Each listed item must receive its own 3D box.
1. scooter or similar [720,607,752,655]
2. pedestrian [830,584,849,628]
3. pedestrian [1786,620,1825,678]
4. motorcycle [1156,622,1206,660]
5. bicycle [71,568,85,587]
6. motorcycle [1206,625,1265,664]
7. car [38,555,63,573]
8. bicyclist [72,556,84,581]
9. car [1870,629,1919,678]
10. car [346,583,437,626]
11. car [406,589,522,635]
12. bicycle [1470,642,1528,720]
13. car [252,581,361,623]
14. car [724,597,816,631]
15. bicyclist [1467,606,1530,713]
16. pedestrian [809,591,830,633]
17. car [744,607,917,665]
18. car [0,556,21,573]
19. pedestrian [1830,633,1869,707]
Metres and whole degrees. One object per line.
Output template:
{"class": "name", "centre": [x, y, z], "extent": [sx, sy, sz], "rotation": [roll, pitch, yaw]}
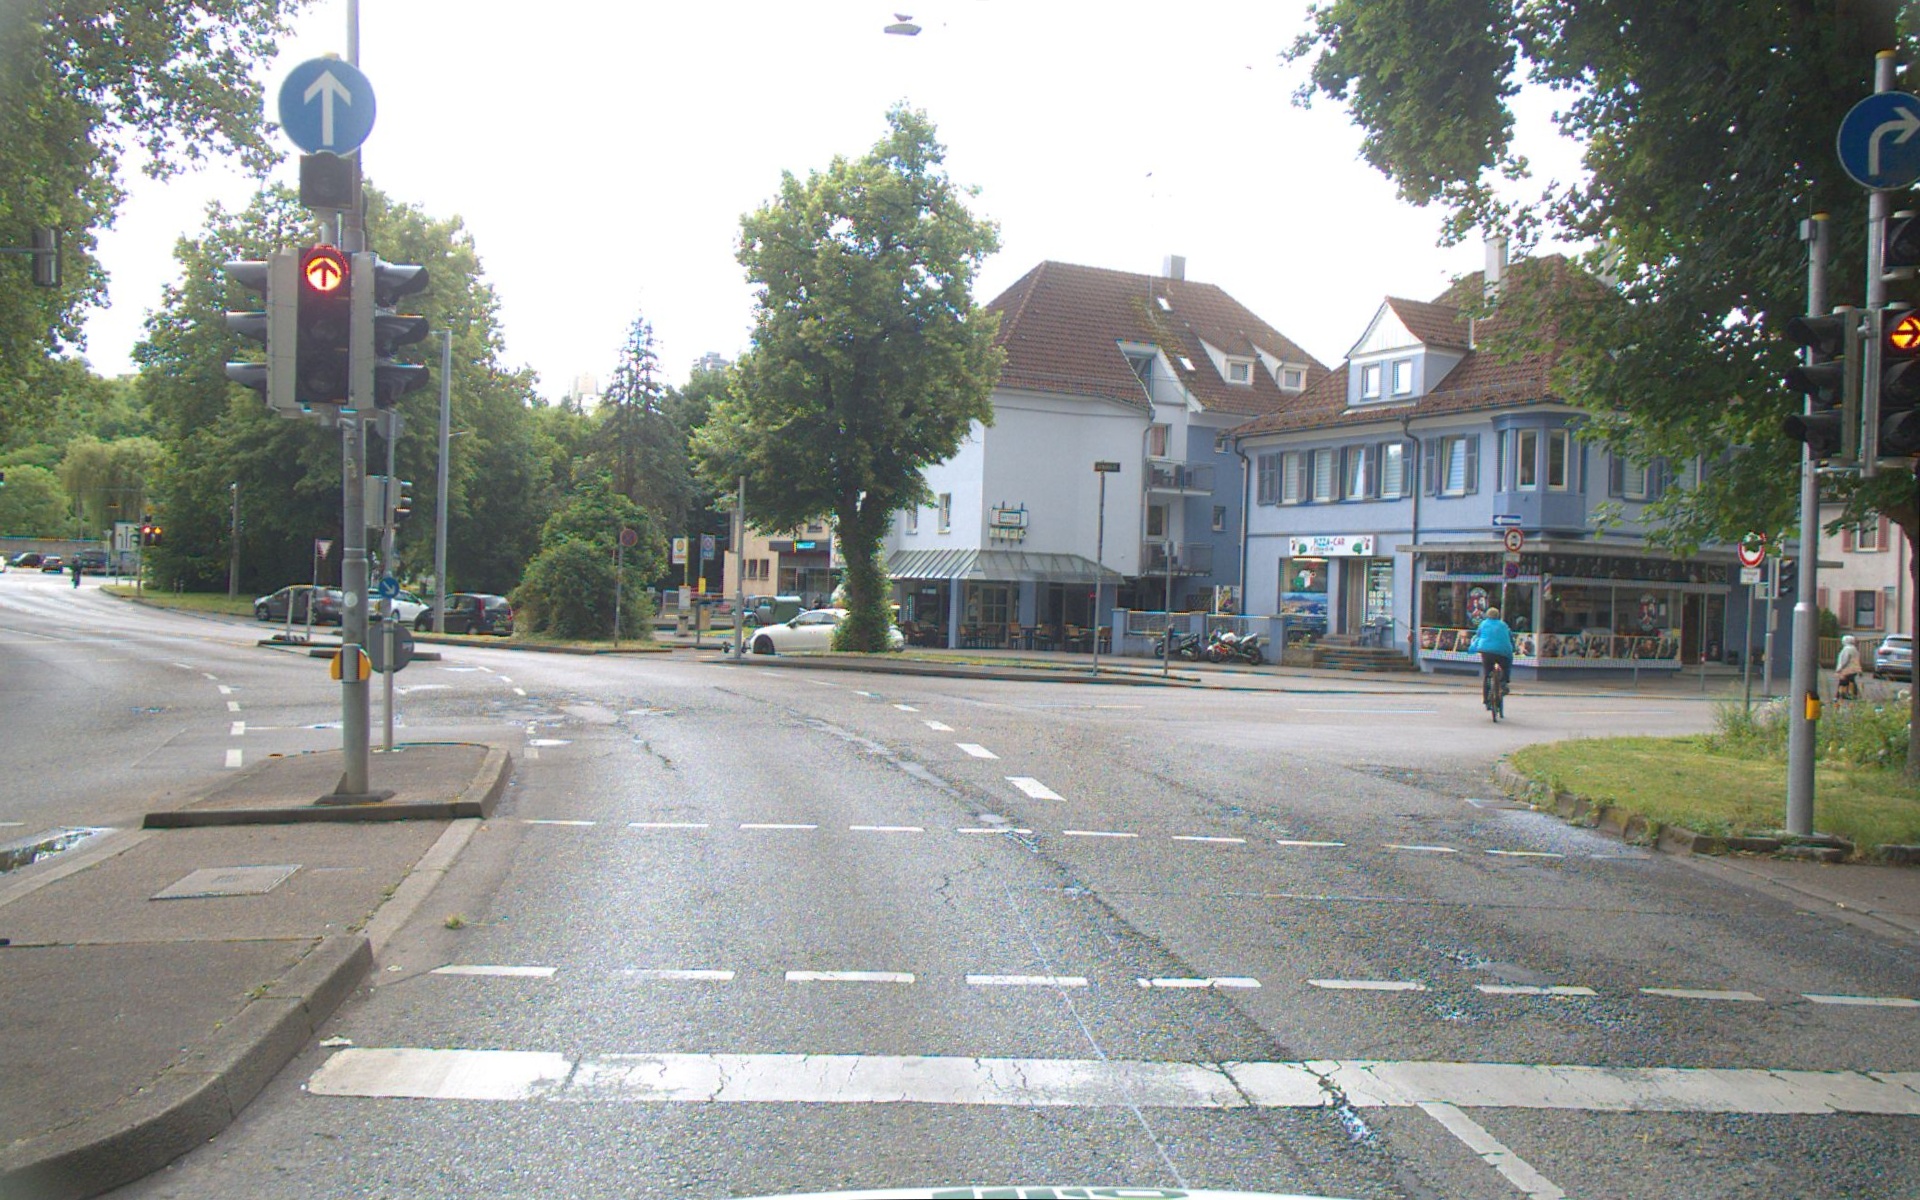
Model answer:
{"class": "scooter or similar", "centre": [-5.770, 0.783, 42.643], "extent": [0.433, 1.195, 1.439], "rotation": [1, 0, 8]}
{"class": "pedestrian", "centre": [-4.316, 0.221, 59.373], "extent": [0.531, 1.587, 0.468], "rotation": [0, -1, 13]}
{"class": "pedestrian", "centre": [23.871, 1.380, 46.705], "extent": [0.659, 1.587, 0.743], "rotation": [1, -1, -15]}
{"class": "motorcycle", "centre": [6.735, 1.243, 50.361], "extent": [1.430, 1.107, 0.522], "rotation": [1, 0, 35]}
{"class": "bicycle", "centre": [-48.623, -1.240, 91.177], "extent": [0.550, 0.975, 2.012], "rotation": [1, 0, -31]}
{"class": "motorcycle", "centre": [8.091, 1.297, 48.613], "extent": [1.595, 1.107, 0.625], "rotation": [1, 0, 32]}
{"class": "car", "centre": [-92.342, -3.634, 167.902], "extent": [1.974, 1.624, 3.957], "rotation": [1, -1, -31]}
{"class": "bicyclist", "centre": [-48.577, -1.753, 91.120], "extent": [0.534, 1.365, 0.706], "rotation": [1, 0, -31]}
{"class": "car", "centre": [29.617, 1.659, 51.870], "extent": [1.849, 1.415, 3.608], "rotation": [1, 0, 28]}
{"class": "car", "centre": [-22.830, 0.177, 66.516], "extent": [1.821, 1.668, 3.757], "rotation": [1, 0, 10]}
{"class": "car", "centre": [-15.996, 0.383, 53.384], "extent": [3.252, 1.376, 1.778], "rotation": [1, 0, 27]}
{"class": "bicycle", "centre": [8.817, 1.297, 27.019], "extent": [0.855, 1.169, 1.953], "rotation": [1, 0, 19]}
{"class": "car", "centre": [-25.102, 0.073, 63.530], "extent": [3.695, 1.491, 1.622], "rotation": [1, 0, 18]}
{"class": "car", "centre": [-8.690, 0.653, 75.610], "extent": [3.880, 1.467, 1.742], "rotation": [1, 0, -21]}
{"class": "bicyclist", "centre": [8.770, 0.949, 26.914], "extent": [0.896, 1.680, 0.989], "rotation": [1, 0, 21]}
{"class": "pedestrian", "centre": [-6.921, 0.572, 81.269], "extent": [0.823, 2.049, 1.052], "rotation": [1, 0, -15]}
{"class": "car", "centre": [-3.605, 0.974, 45.820], "extent": [4.618, 1.435, 1.896], "rotation": [1, 0, 35]}
{"class": "car", "centre": [-88.586, -3.310, 153.588], "extent": [2.971, 1.442, 1.491], "rotation": [1, -2, 41]}
{"class": "pedestrian", "centre": [19.628, 1.529, 36.500], "extent": [0.717, 1.587, 0.767], "rotation": [1, -1, 30]}
